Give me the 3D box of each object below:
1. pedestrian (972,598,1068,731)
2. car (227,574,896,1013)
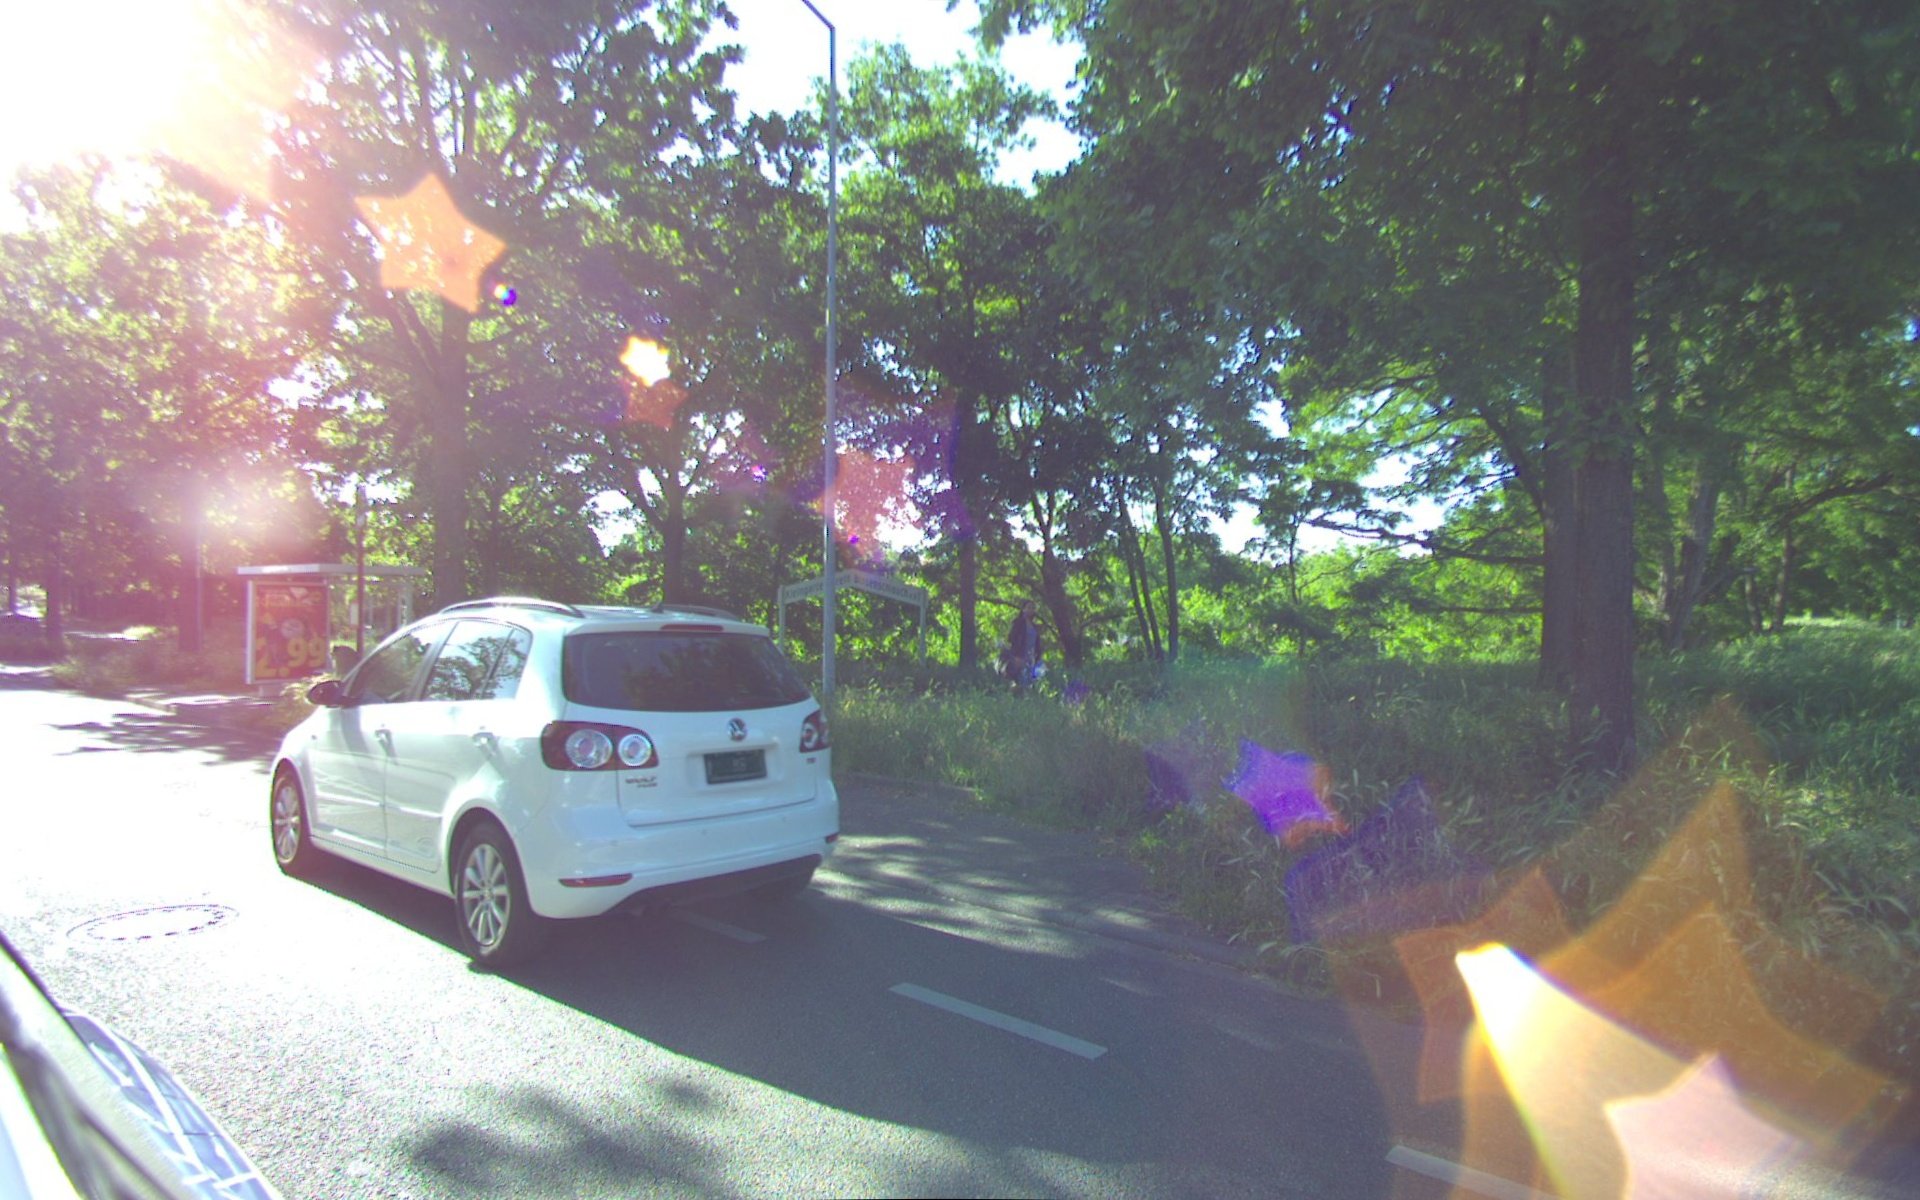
[{"bbox_3d":[0.807,0.832,13.569,0.891,1.701,0.903,-2,-1,42],"label":"pedestrian"},{"bbox_3d":[-2.442,0.761,5.669,4.117,1.575,1.734,-1,-3,40],"label":"car"}]
